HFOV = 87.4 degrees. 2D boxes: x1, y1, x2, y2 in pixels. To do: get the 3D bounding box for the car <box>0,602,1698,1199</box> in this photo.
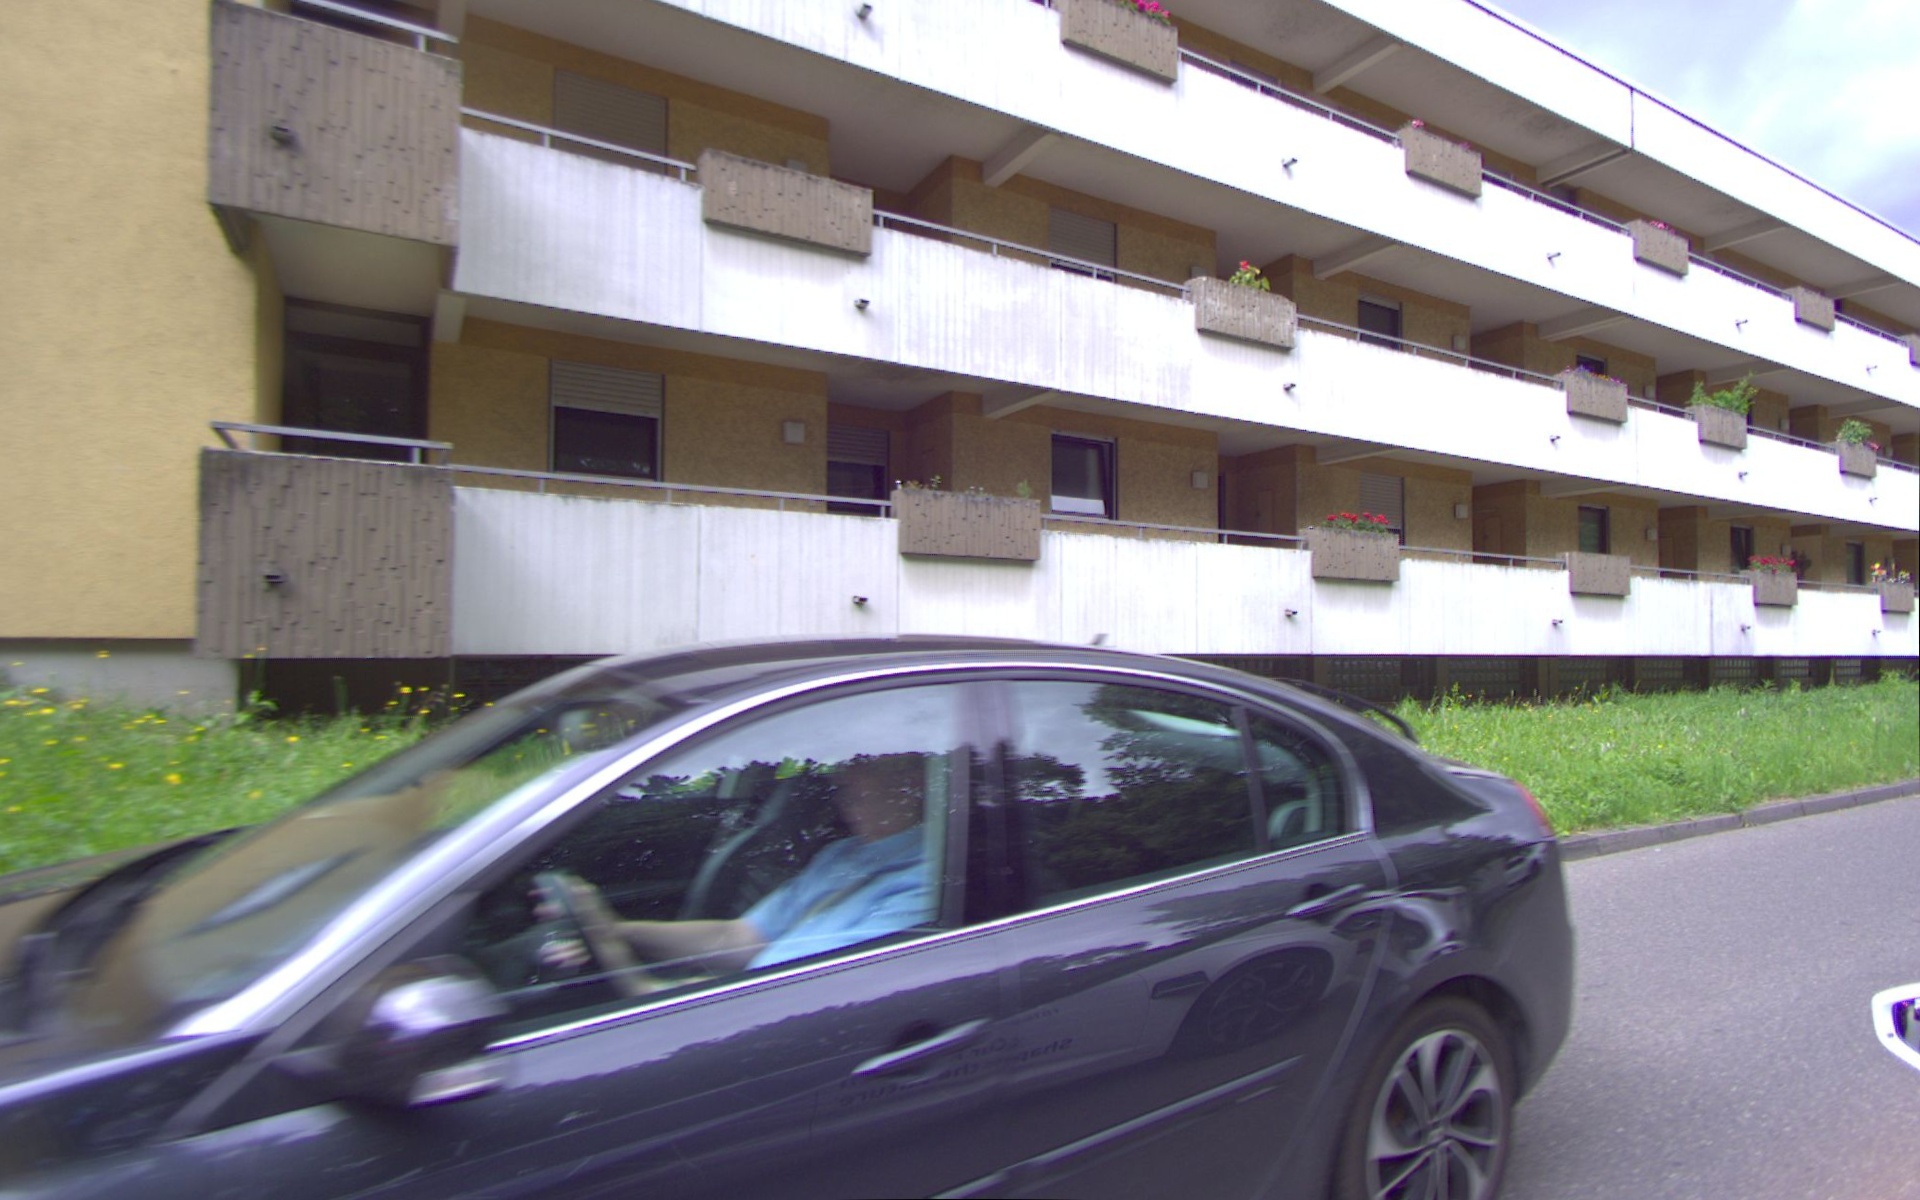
[{"bbox_3d":[-0.392,0.766,2.364,4.373,1.430,1.904,2,-2,-31],"label":"car"}]
